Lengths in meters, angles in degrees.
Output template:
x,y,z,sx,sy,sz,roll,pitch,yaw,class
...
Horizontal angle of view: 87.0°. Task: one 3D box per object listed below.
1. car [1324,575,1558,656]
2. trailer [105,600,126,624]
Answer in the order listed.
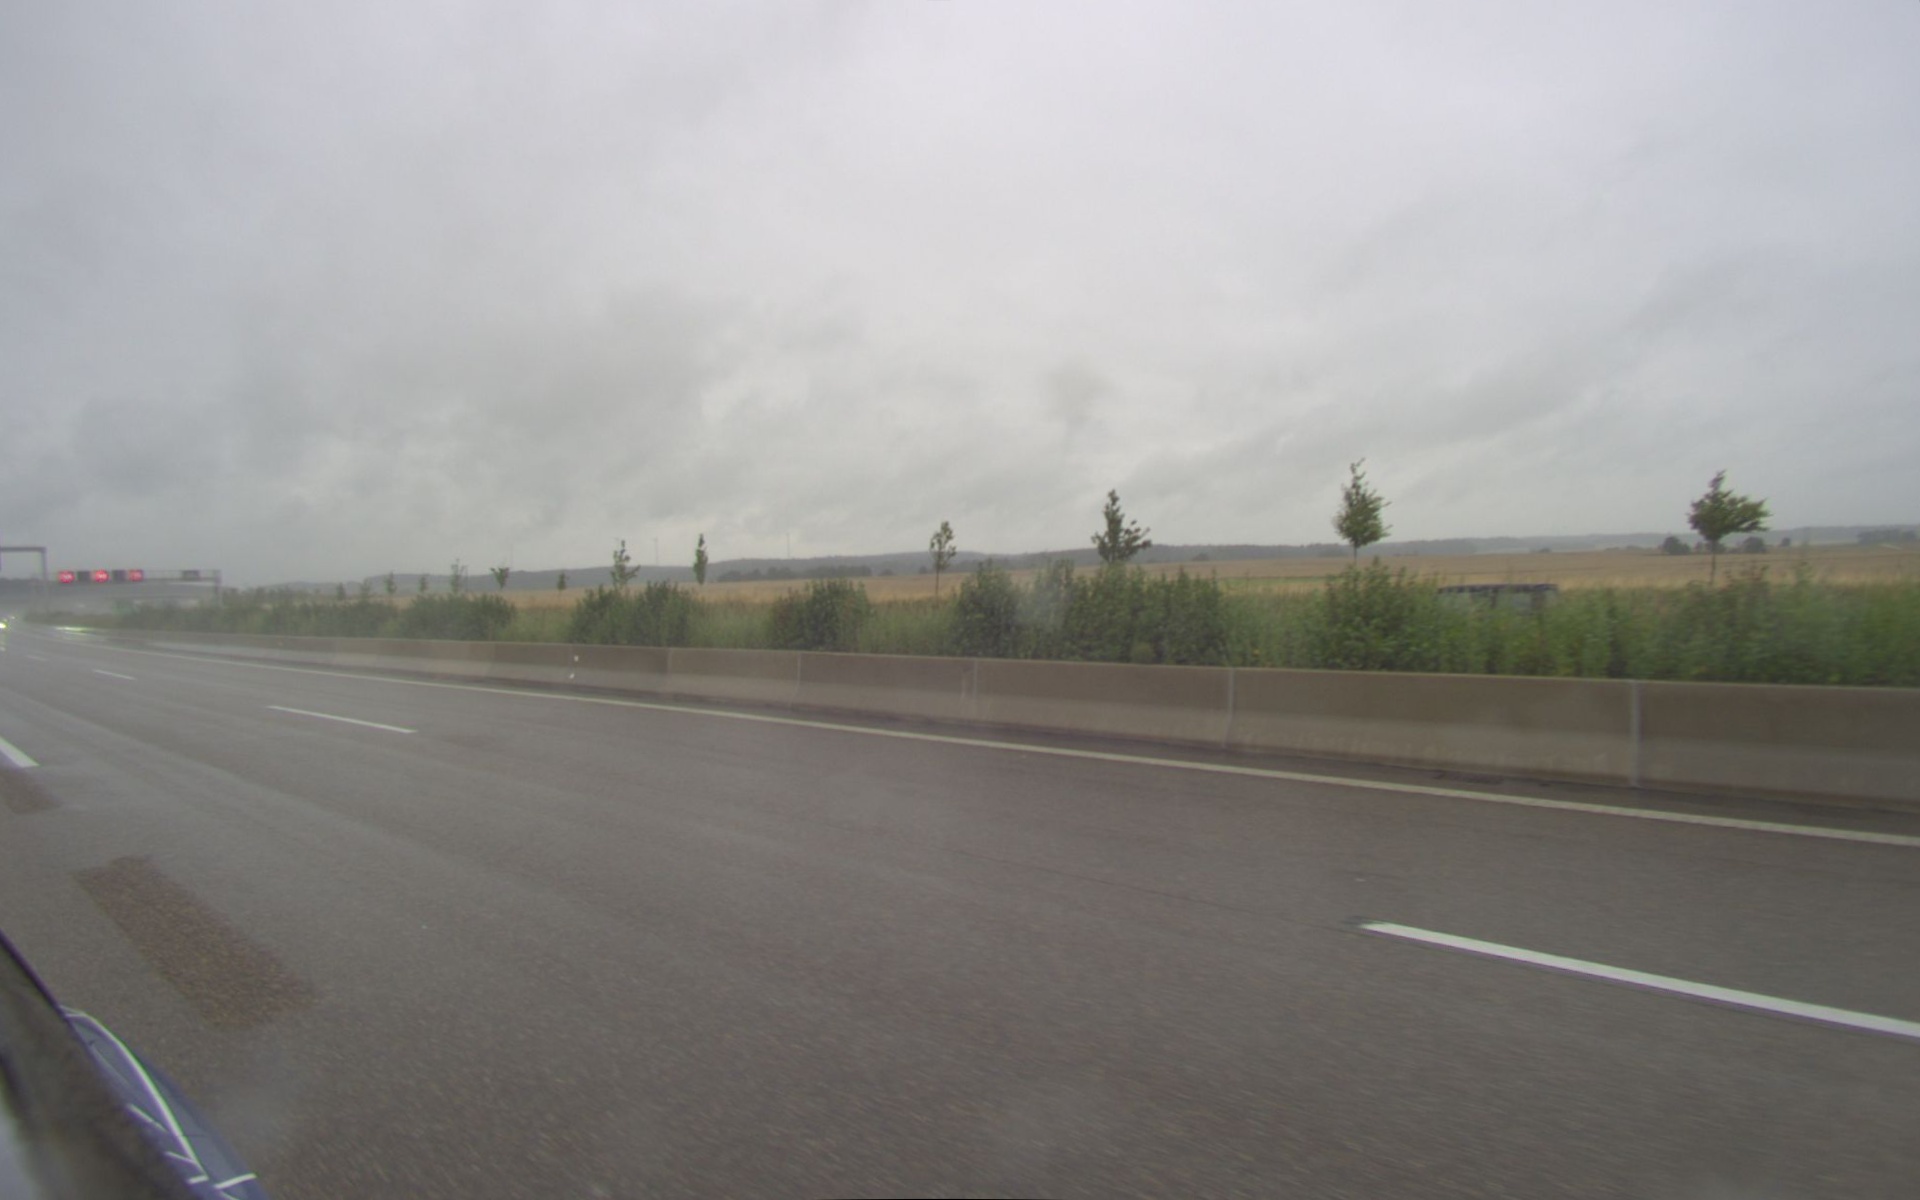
x,y,z,sx,sy,sz,roll,pitch,yaw,class
9.829,0.301,20.800,3.996,1.497,1.974,-1,0,39,car
-153.194,2.205,183.571,1.970,4.070,14.314,-1,0,-44,trailer
